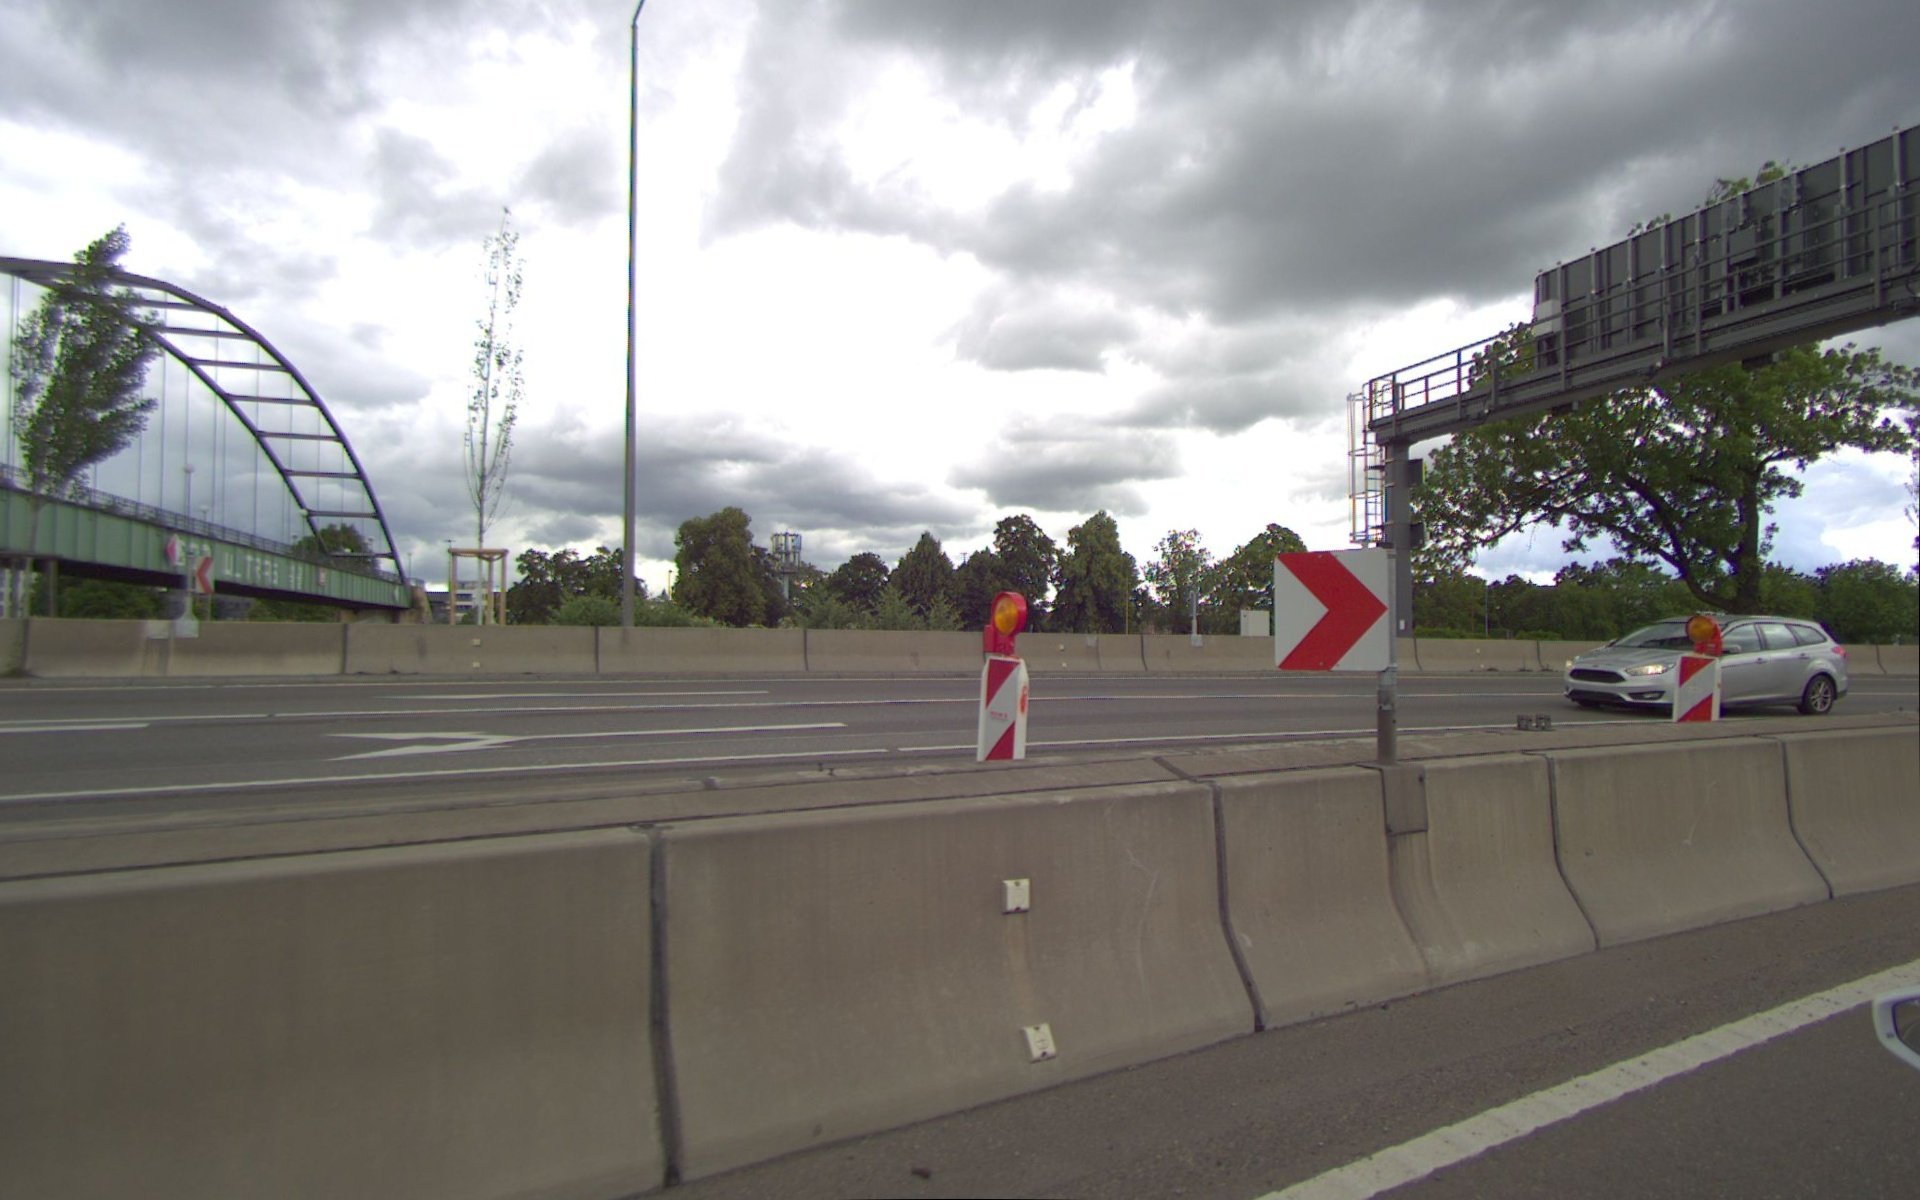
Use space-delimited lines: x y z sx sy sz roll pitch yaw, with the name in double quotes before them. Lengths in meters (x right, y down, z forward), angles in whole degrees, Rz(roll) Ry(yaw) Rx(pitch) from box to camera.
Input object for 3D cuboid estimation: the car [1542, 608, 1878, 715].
"car" 11.415 0.889 15.325 4.575 1.440 1.793 1 0 -18
